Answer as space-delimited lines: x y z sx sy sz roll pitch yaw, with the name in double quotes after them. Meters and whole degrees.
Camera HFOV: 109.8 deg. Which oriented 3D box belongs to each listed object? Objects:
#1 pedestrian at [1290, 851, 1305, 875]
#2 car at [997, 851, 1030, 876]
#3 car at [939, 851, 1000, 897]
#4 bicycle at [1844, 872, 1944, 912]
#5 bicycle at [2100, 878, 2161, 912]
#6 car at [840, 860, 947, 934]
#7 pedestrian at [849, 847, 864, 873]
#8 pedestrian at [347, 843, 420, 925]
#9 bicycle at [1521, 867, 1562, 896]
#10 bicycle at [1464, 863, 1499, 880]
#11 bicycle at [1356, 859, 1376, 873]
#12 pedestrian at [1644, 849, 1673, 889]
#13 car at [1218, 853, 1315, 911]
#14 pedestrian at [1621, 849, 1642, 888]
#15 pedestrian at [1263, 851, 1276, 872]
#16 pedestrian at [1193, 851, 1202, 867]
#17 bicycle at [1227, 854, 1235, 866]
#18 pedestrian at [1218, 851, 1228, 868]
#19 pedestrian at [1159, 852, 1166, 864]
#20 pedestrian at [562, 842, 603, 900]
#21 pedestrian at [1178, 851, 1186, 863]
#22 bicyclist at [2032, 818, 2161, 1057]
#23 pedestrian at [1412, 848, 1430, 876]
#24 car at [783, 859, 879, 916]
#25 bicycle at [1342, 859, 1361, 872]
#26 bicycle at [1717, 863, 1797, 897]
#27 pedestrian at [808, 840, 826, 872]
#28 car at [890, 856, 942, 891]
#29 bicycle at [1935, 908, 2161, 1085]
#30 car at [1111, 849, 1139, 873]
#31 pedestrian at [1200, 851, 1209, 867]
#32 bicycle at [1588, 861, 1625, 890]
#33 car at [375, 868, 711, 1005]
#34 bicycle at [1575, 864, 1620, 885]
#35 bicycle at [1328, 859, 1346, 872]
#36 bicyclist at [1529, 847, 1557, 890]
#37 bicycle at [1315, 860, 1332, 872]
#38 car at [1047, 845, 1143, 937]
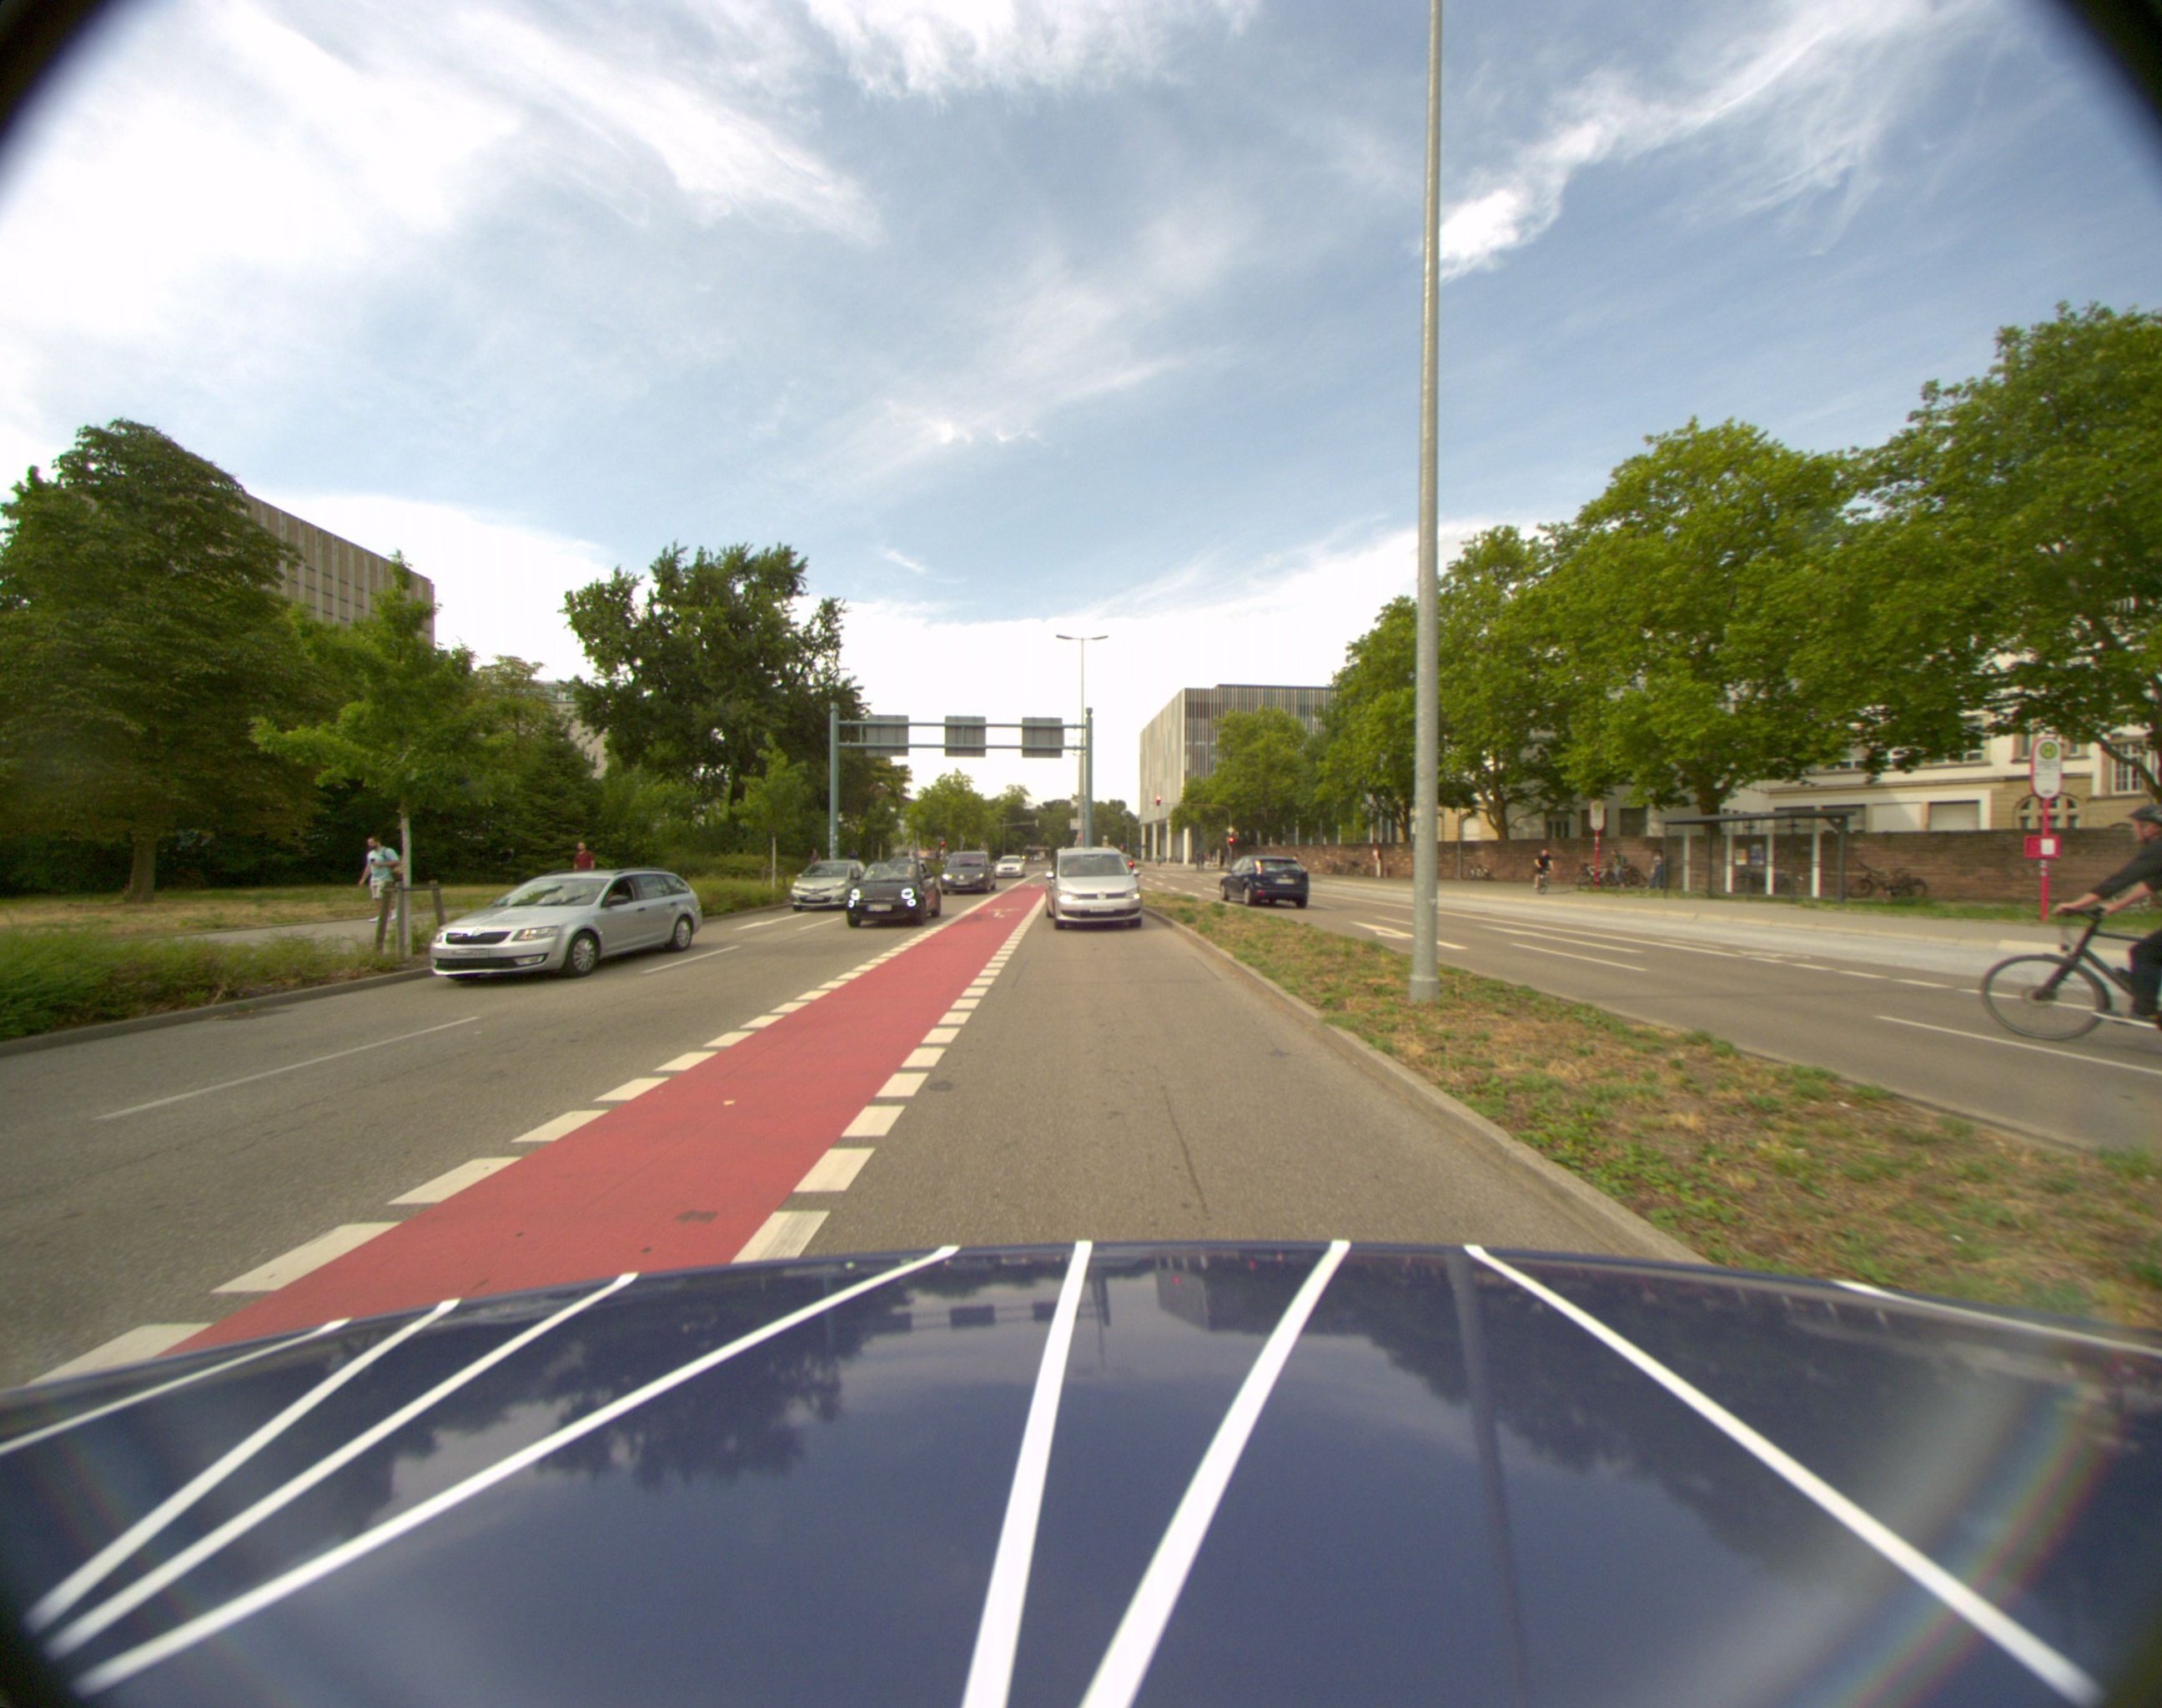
14.662 0.587 51.567 0.755 1.612 0.665 -2 1 -6 "pedestrian"
-4.372 0.603 49.616 1.759 1.450 4.222 -2 1 0 "car"
-4.456 0.741 30.918 1.759 1.641 4.685 -2 1 0 "car"
26.595 1.221 24.911 0.760 1.182 2.094 2 -1 -22 "bicycle"
28.843 1.113 20.345 0.359 0.859 1.819 2 -1 -23 "bicycle"
-4.330 0.934 18.049 1.670 1.481 3.440 -1 1 0 "car"
-15.093 0.384 51.052 0.714 1.701 0.695 -2 1 0 "pedestrian"
-14.916 0.622 16.270 0.842 1.701 0.694 -2 1 -4 "pedestrian"
17.174 1.002 28.381 0.505 0.930 1.972 0 2 7 "bicycle"
21.347 0.916 40.521 0.662 0.882 1.573 -3 1 -20 "bicycle"
18.969 0.823 50.589 0.433 0.882 1.574 -3 1 -11 "bicycle"
23.993 0.617 31.580 0.569 1.612 0.753 -2 1 -22 "pedestrian"
5.420 0.750 22.737 1.789 1.481 4.129 2 1 0 "car"
23.500 0.603 32.461 0.569 1.612 0.484 -2 1 -22 "pedestrian"
14.346 0.574 57.941 0.755 1.612 0.665 -2 1 -6 "pedestrian"
12.010 0.557 78.157 0.755 1.612 0.665 -2 1 -6 "pedestrian"
15.296 0.638 77.293 0.513 1.202 1.395 -2 1 0 "bicycle"
13.906 0.523 74.513 0.755 1.612 0.665 -2 1 -6 "pedestrian"
11.061 0.512 103.507 0.755 1.612 0.665 -2 1 -6 "pedestrian"
-14.912 0.503 22.746 0.714 1.701 0.695 -2 1 0 "pedestrian"
13.340 0.404 100.318 0.755 1.612 0.665 -2 1 -6 "pedestrian"
8.044 0.605 5.598 0.779 1.701 1.083 2 0 -22 "bicyclist"
20.066 0.465 44.831 0.756 1.612 0.664 -3 2 -41 "pedestrian"
-7.602 0.955 23.472 1.670 1.481 3.875 -2 1 0 "car"
18.746 0.800 52.651 0.433 0.882 1.574 -3 1 -11 "bicycle"
25.306 0.949 28.507 0.760 1.182 2.094 2 -1 -22 "bicycle"
-14.650 0.100 42.223 0.714 1.701 0.695 -2 1 0 "pedestrian"
-7.384 0.835 34.340 1.670 1.407 3.456 -2 1 -2 "car"
8.010 1.066 5.618 0.760 1.182 2.094 2 -1 -22 "bicycle"
3.240 0.508 56.170 1.759 1.615 3.866 -2 1 0 "car"
12.727 0.530 78.517 0.755 1.612 0.665 -2 1 -6 "pedestrian"
22.593 0.939 32.655 2.103 1.182 0.756 3 -1 -40 "bicycle"
-7.647 1.048 11.507 1.824 1.466 4.527 -2 1 0 "car"
23.217 0.916 34.164 0.662 0.882 1.573 -3 1 -20 "bicycle"
18.294 0.792 54.263 0.433 0.882 1.574 -3 1 -11 "bicycle"
17.149 0.518 28.218 0.579 1.547 0.798 0 3 8 "bicyclist"
17.899 0.871 56.141 0.433 0.882 1.574 -3 1 -11 "bicycle"
0.183 0.683 17.010 1.824 1.724 4.526 -2 1 -2 "car"
